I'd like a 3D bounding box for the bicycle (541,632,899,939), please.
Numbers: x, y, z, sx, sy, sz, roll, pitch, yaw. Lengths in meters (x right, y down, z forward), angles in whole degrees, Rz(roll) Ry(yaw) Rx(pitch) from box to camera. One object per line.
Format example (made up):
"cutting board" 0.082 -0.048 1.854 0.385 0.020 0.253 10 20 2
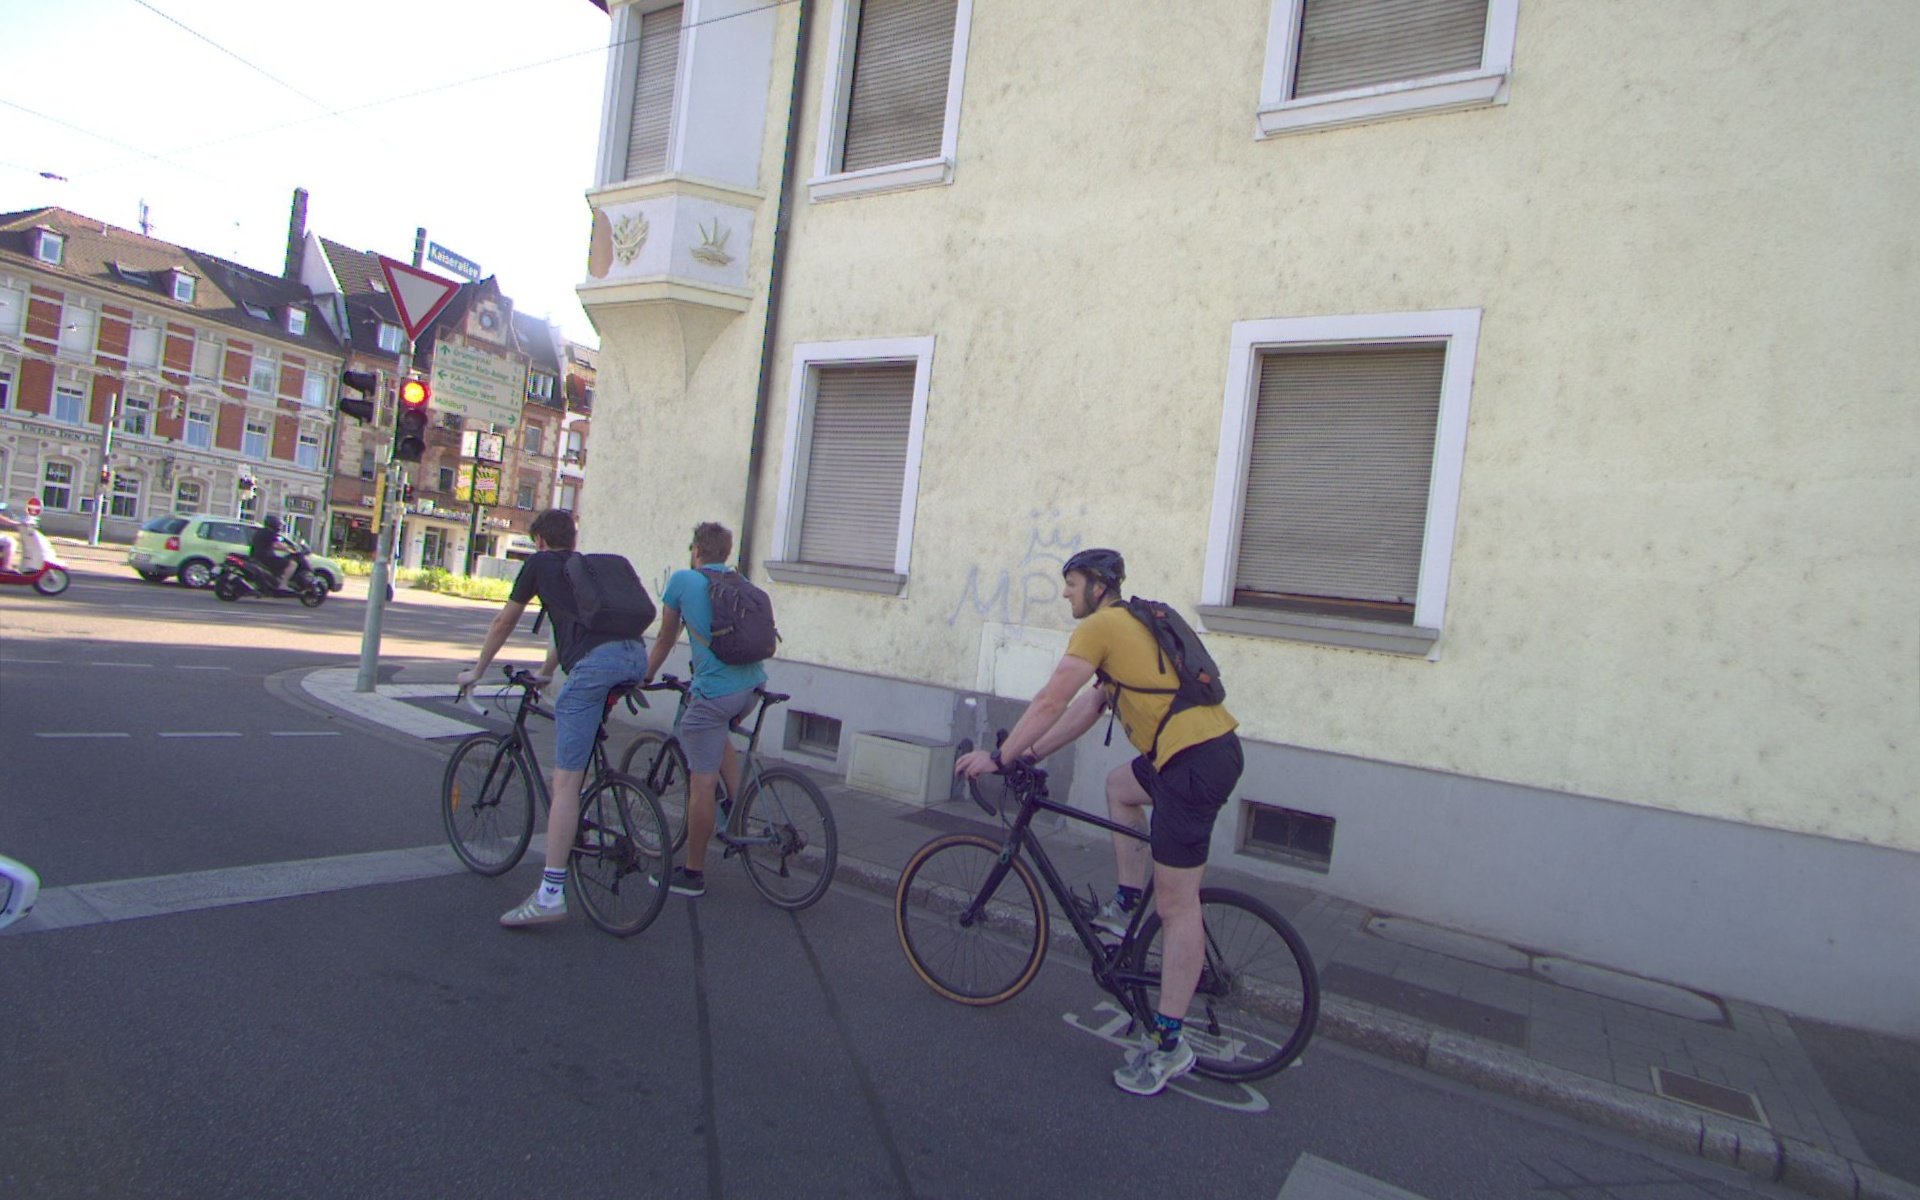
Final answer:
"bicycle" -1.306 0.877 5.281 1.858 1.180 0.571 7 0 32

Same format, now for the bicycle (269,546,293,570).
"bicycle" -33.086 -2.058 48.980 1.759 1.033 0.485 7 0 42

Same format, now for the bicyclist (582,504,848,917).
"bicyclist" -1.282 0.524 5.271 0.978 1.910 0.652 7 0 32

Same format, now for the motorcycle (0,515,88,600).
"motorcycle" -13.813 -0.650 14.329 0.495 1.132 2.032 7 -1 21

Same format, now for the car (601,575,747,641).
"car" -8.423 0.299 30.017 1.710 1.457 4.283 7 -2 25

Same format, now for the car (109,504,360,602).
"car" -15.494 -0.946 21.724 1.710 1.516 3.967 7 -1 25

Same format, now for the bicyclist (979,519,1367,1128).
"bicyclist" 0.776 0.697 3.657 1.019 1.839 0.652 7 0 32

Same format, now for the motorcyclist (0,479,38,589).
"motorcyclist" -13.848 -0.978 14.253 0.647 1.526 0.817 7 0 20

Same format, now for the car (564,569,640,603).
"car" -23.209 -0.886 65.398 1.966 1.641 4.261 7 -1 29

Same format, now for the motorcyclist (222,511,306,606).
"motorcyclist" -13.251 -0.780 19.171 0.801 1.639 0.835 7 -1 21

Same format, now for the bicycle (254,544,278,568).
"bicycle" -33.306 -2.115 48.292 1.759 1.033 0.485 7 0 42

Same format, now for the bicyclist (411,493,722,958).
"bicyclist" -1.747 0.492 4.470 0.978 1.788 0.652 7 0 32

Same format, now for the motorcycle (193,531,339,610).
"motorcycle" -13.234 -0.523 19.284 0.682 1.243 2.213 7 -1 21

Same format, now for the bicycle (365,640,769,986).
"bicycle" -1.795 0.835 4.468 1.858 1.071 0.571 7 0 32

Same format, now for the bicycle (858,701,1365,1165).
"bicycle" 0.516 1.090 3.773 1.670 1.180 0.571 7 0 32
